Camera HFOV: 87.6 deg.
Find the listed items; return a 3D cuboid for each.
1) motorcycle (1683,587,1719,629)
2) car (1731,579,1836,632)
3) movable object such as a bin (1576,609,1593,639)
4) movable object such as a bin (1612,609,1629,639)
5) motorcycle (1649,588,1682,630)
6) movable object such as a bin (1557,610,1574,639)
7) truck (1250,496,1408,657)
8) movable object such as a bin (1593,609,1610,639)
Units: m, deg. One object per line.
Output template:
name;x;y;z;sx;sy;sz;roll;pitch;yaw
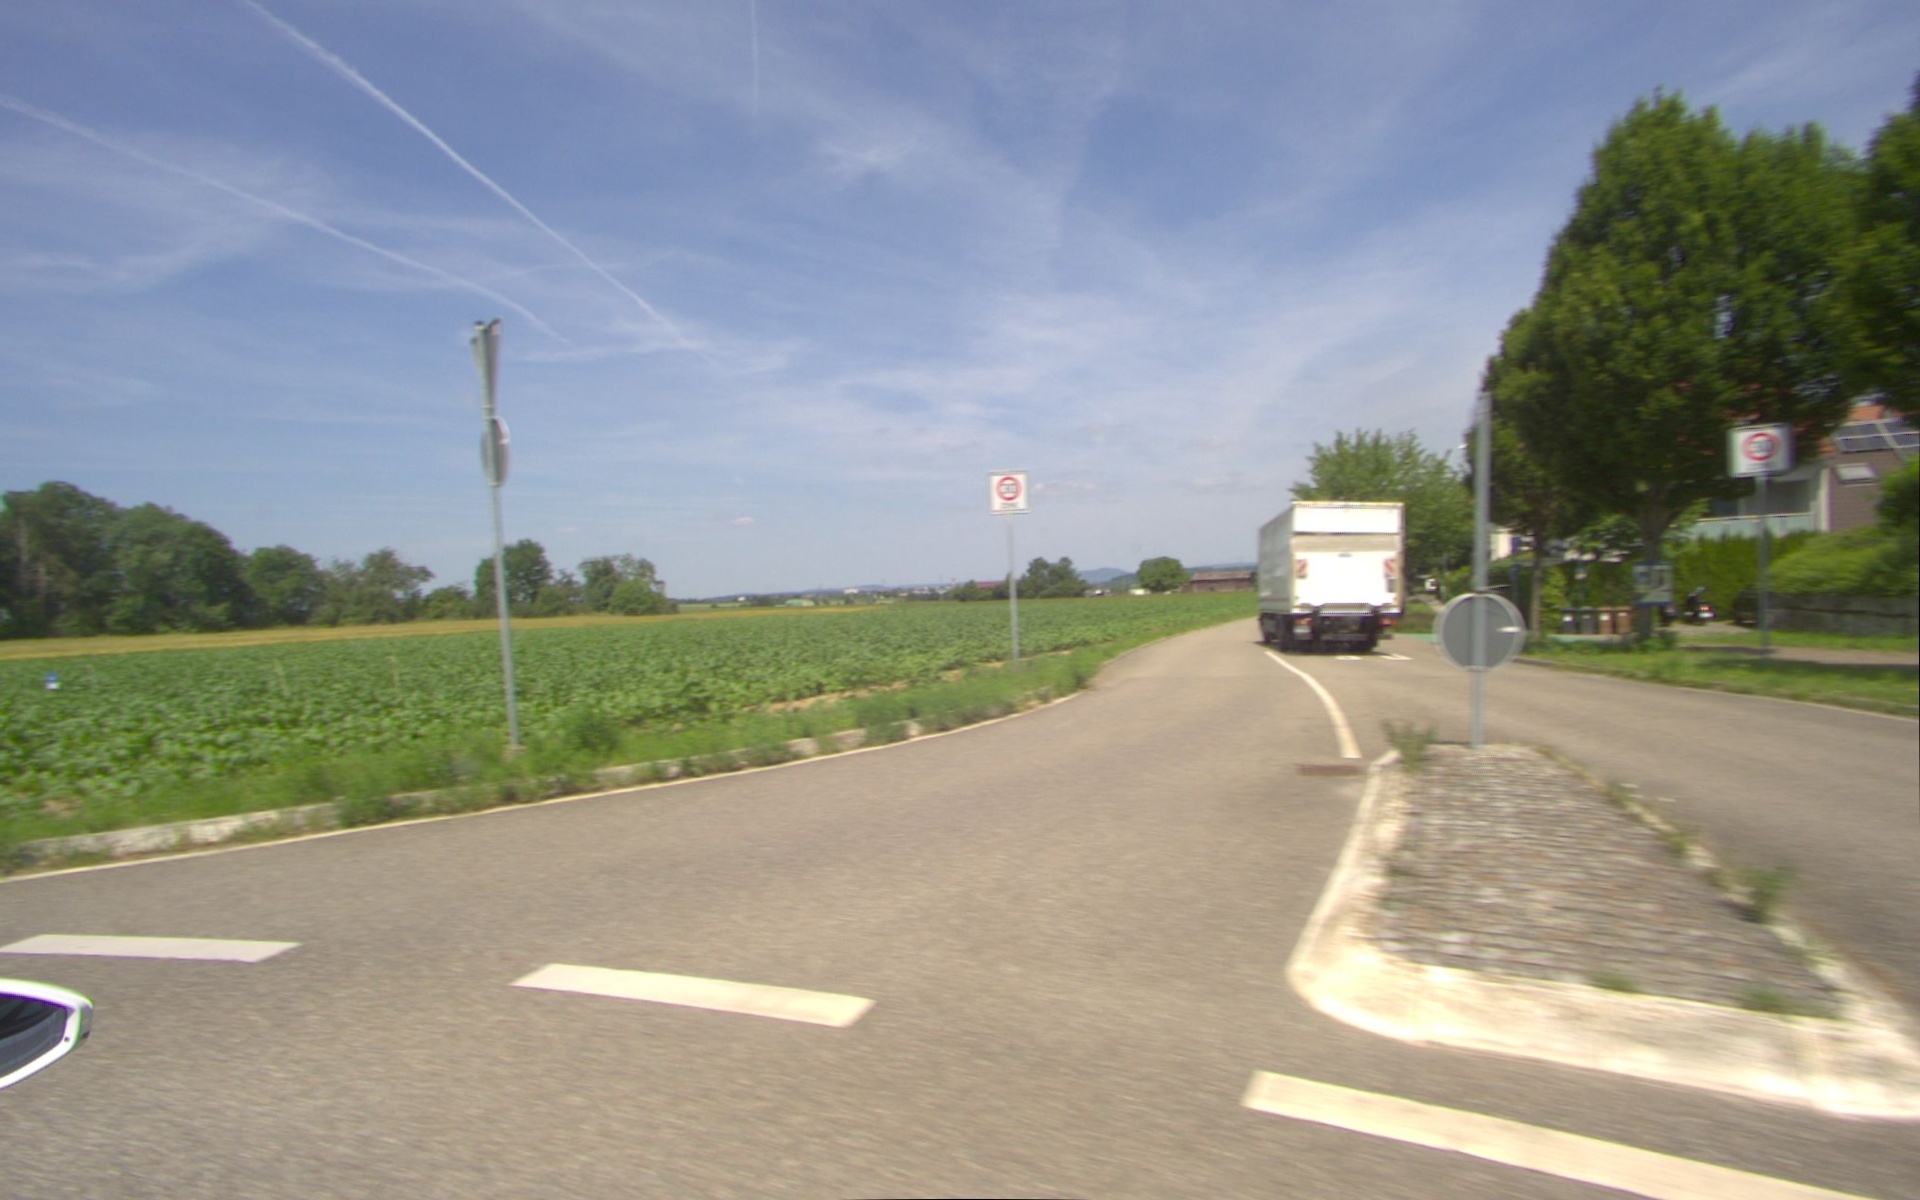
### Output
motorcycle;25.552;0.281;34.540;0.839;1.366;1.652;-2;1;32
car;26.876;0.152;32.821;1.684;1.573;3.985;-2;1;25
movable object such as a bin;21.076;0.817;33.809;0.436;0.979;0.495;0;2;39
movable object such as a bin;21.875;0.797;33.157;0.436;0.979;0.495;0;2;39
motorcycle;24.717;0.305;35.094;0.839;1.366;1.652;-2;1;32
movable object such as a bin;20.642;0.827;34.152;0.436;0.979;0.495;0;2;39
truck;10.002;-0.514;28.196;2.723;3.719;9.376;-1;0;11
movable object such as a bin;21.450;0.808;33.502;0.436;0.979;0.495;0;2;39
